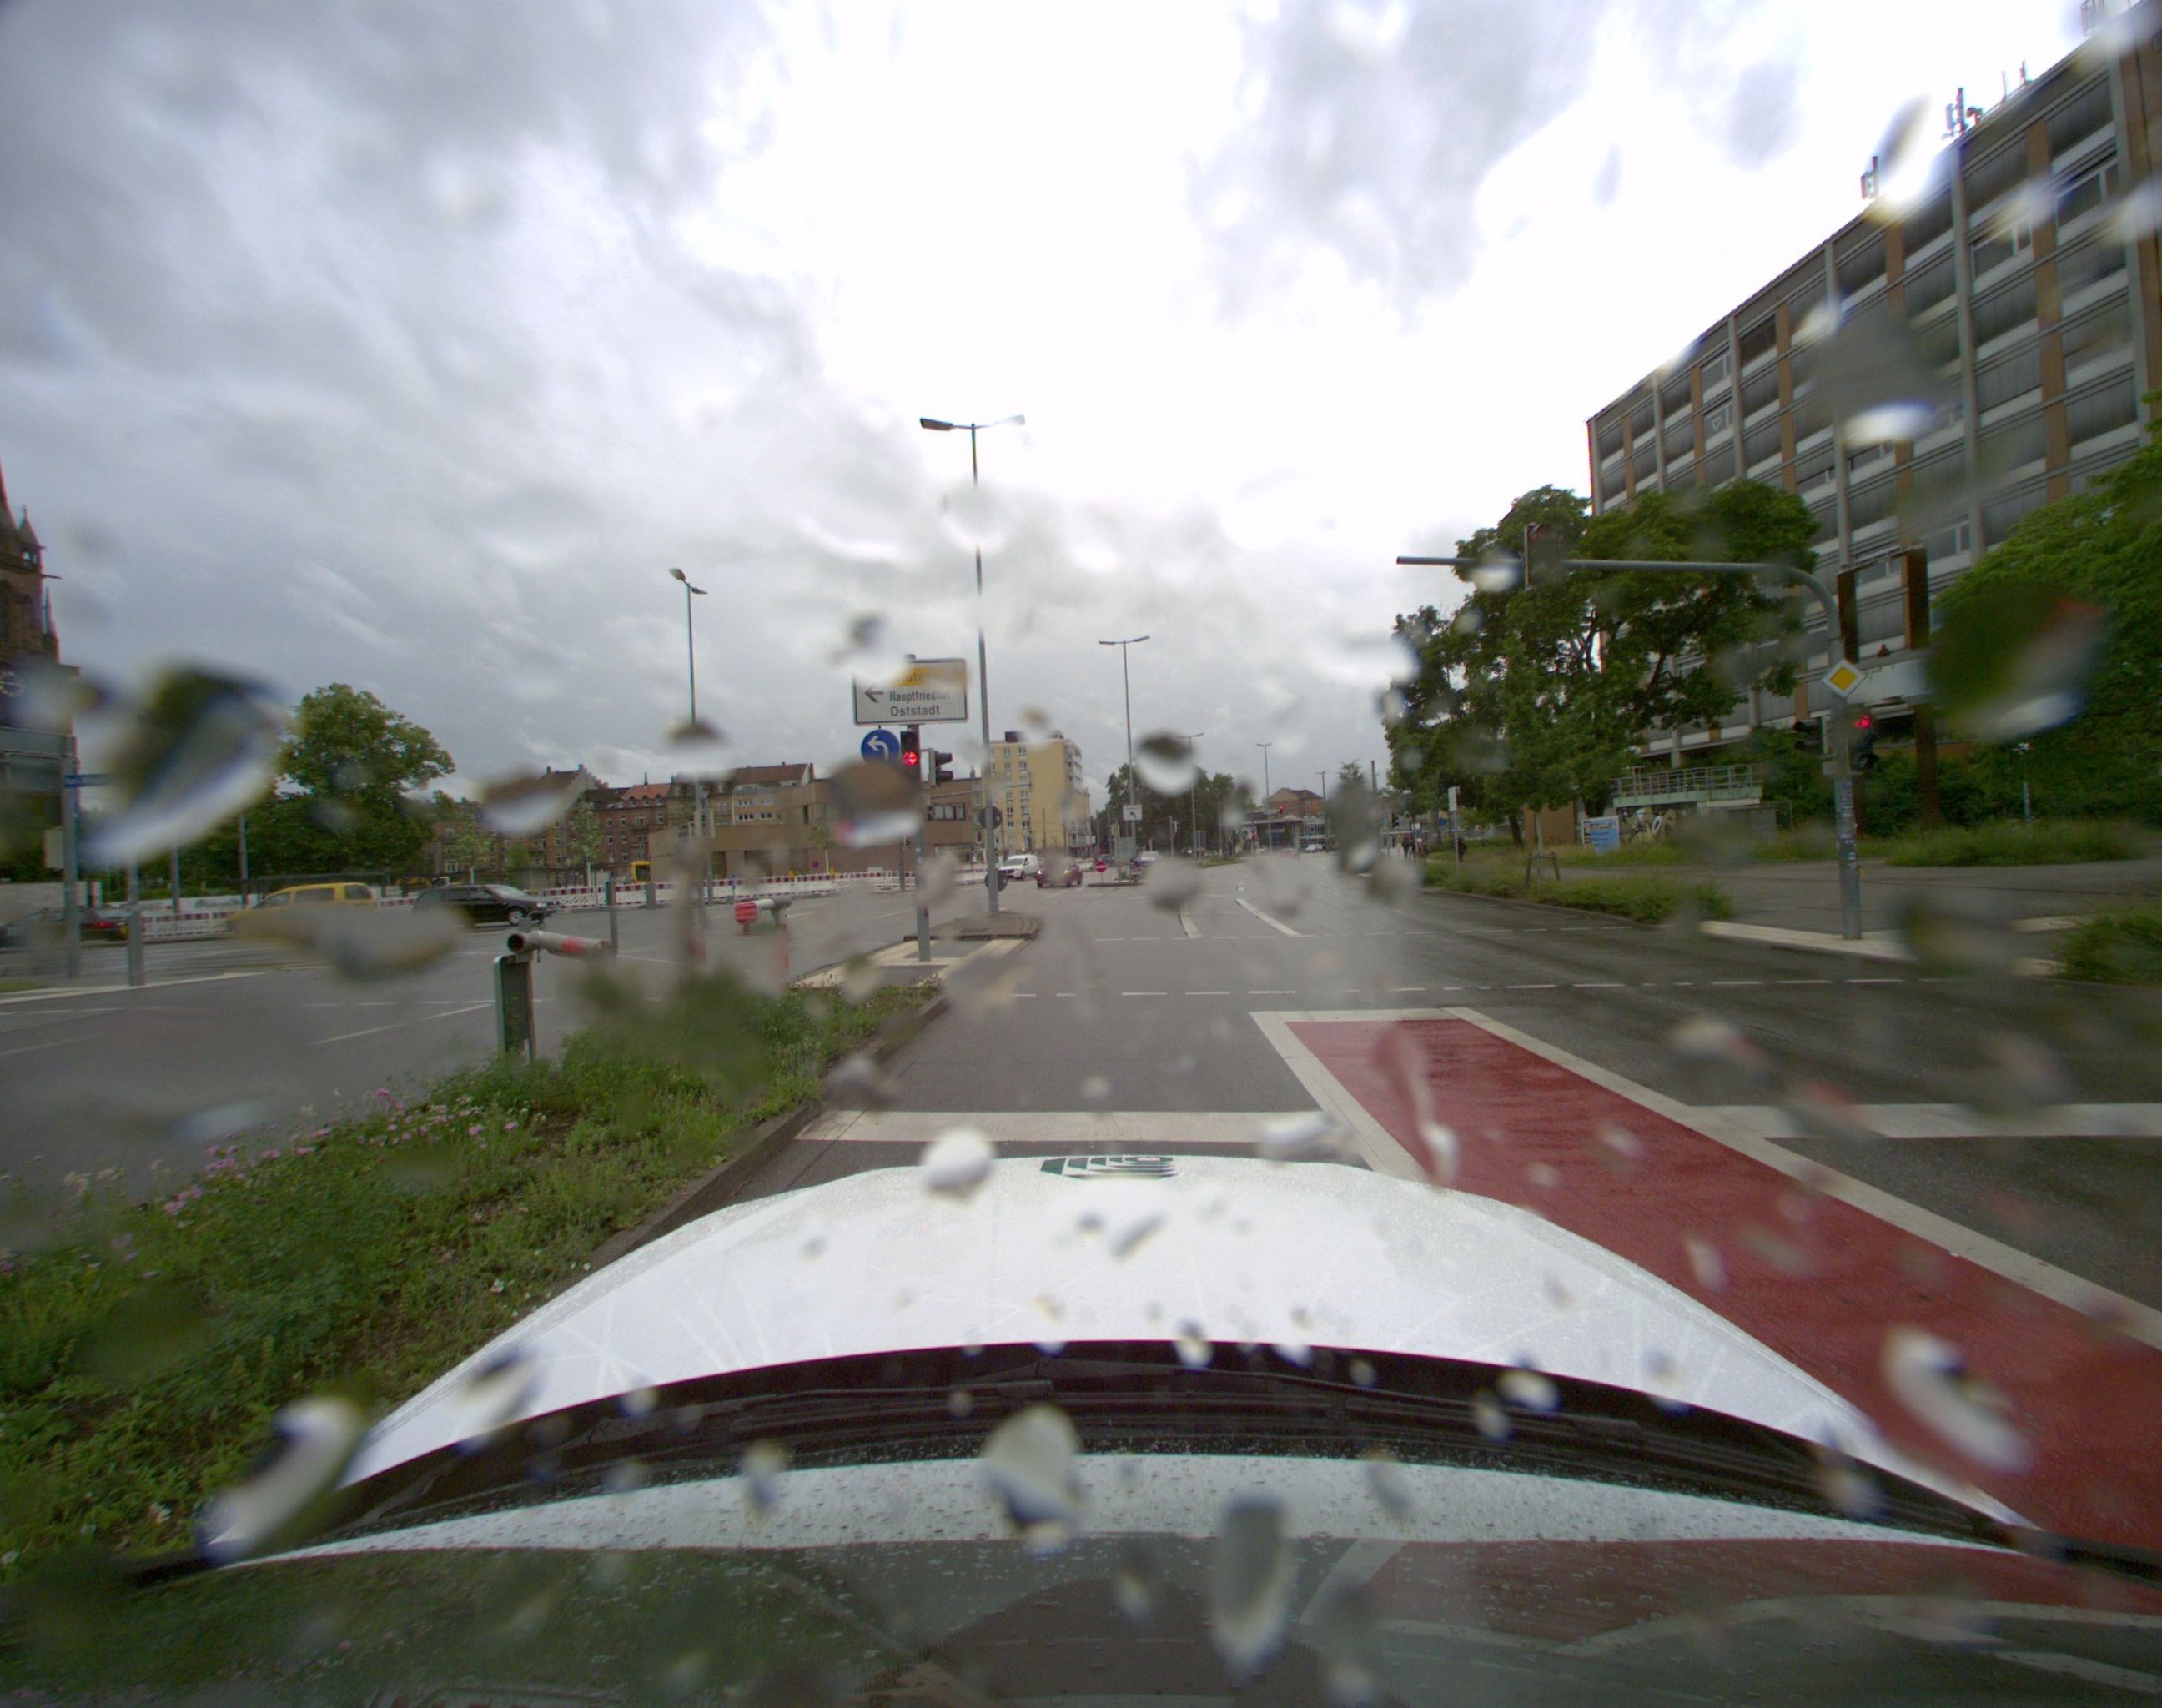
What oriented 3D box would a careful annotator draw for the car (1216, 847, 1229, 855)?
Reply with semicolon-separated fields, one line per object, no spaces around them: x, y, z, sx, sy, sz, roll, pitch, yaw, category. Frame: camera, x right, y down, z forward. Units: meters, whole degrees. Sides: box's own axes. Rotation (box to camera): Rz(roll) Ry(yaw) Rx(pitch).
32.949;-0.689;189.454;1.773;1.643;4.184;-3;0;25;car

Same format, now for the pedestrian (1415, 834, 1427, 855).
26.705;-0.729;63.978;0.698;1.588;0.939;-3;0;12;pedestrian

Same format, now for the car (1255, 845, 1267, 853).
41.076;-1.118;185.783;1.773;1.643;4.184;-3;0;25;car

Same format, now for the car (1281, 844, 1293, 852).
46.166;-1.382;182.701;1.773;1.643;4.184;-3;0;25;car

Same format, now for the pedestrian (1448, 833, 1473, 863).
20.970;-0.355;45.007;1.015;1.588;0.939;-3;0;12;pedestrian

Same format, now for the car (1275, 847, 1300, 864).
21.939;0.098;86.473;1.774;1.643;4.183;-3;0;23;car

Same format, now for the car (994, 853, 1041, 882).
-4.413;0.938;57.221;1.776;1.858;4.178;-3;0;17;car

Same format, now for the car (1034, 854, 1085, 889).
-1.068;0.877;42.431;1.779;1.643;4.058;-3;0;10;car

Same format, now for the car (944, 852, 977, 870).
-21.109;1.229;142.820;5.326;2.887;2.342;-3;0;4;car

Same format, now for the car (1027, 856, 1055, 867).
-6.633;1.188;135.043;4.356;1.643;1.801;-3;0;9;car

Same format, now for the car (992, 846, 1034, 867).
-11.818;0.455;141.967;6.711;3.380;2.813;-3;0;4;car

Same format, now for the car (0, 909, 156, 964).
-38.181;3.078;30.601;4.440;1.706;1.707;-3;0;-6;car

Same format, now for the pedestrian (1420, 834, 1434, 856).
25.314;-0.639;59.560;0.698;1.588;0.939;-3;0;12;pedestrian

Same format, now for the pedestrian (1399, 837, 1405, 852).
36.673;-1.091;93.050;0.583;1.630;0.623;-3;0;17;pedestrian

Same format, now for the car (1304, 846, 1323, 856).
42.145;-0.595;147.520;1.773;1.643;4.185;-3;0;41;car

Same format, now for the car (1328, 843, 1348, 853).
47.212;-1.139;149.458;4.184;1.643;1.773;-3;0;-44;car

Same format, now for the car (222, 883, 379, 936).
-30.154;2.111;31.579;4.134;1.706;1.707;-3;0;-6;car

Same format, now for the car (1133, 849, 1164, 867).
6.849;0.355;81.792;1.774;1.643;4.183;-3;0;23;car

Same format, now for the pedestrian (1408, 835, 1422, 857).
24.537;-0.599;59.841;0.698;1.588;0.939;-3;0;12;pedestrian

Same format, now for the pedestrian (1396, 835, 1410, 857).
23.822;-0.561;60.292;0.749;1.588;0.939;-3;0;12;pedestrian

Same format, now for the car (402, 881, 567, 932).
-19.988;1.743;27.423;4.185;1.402;1.615;-3;0;-5;car
